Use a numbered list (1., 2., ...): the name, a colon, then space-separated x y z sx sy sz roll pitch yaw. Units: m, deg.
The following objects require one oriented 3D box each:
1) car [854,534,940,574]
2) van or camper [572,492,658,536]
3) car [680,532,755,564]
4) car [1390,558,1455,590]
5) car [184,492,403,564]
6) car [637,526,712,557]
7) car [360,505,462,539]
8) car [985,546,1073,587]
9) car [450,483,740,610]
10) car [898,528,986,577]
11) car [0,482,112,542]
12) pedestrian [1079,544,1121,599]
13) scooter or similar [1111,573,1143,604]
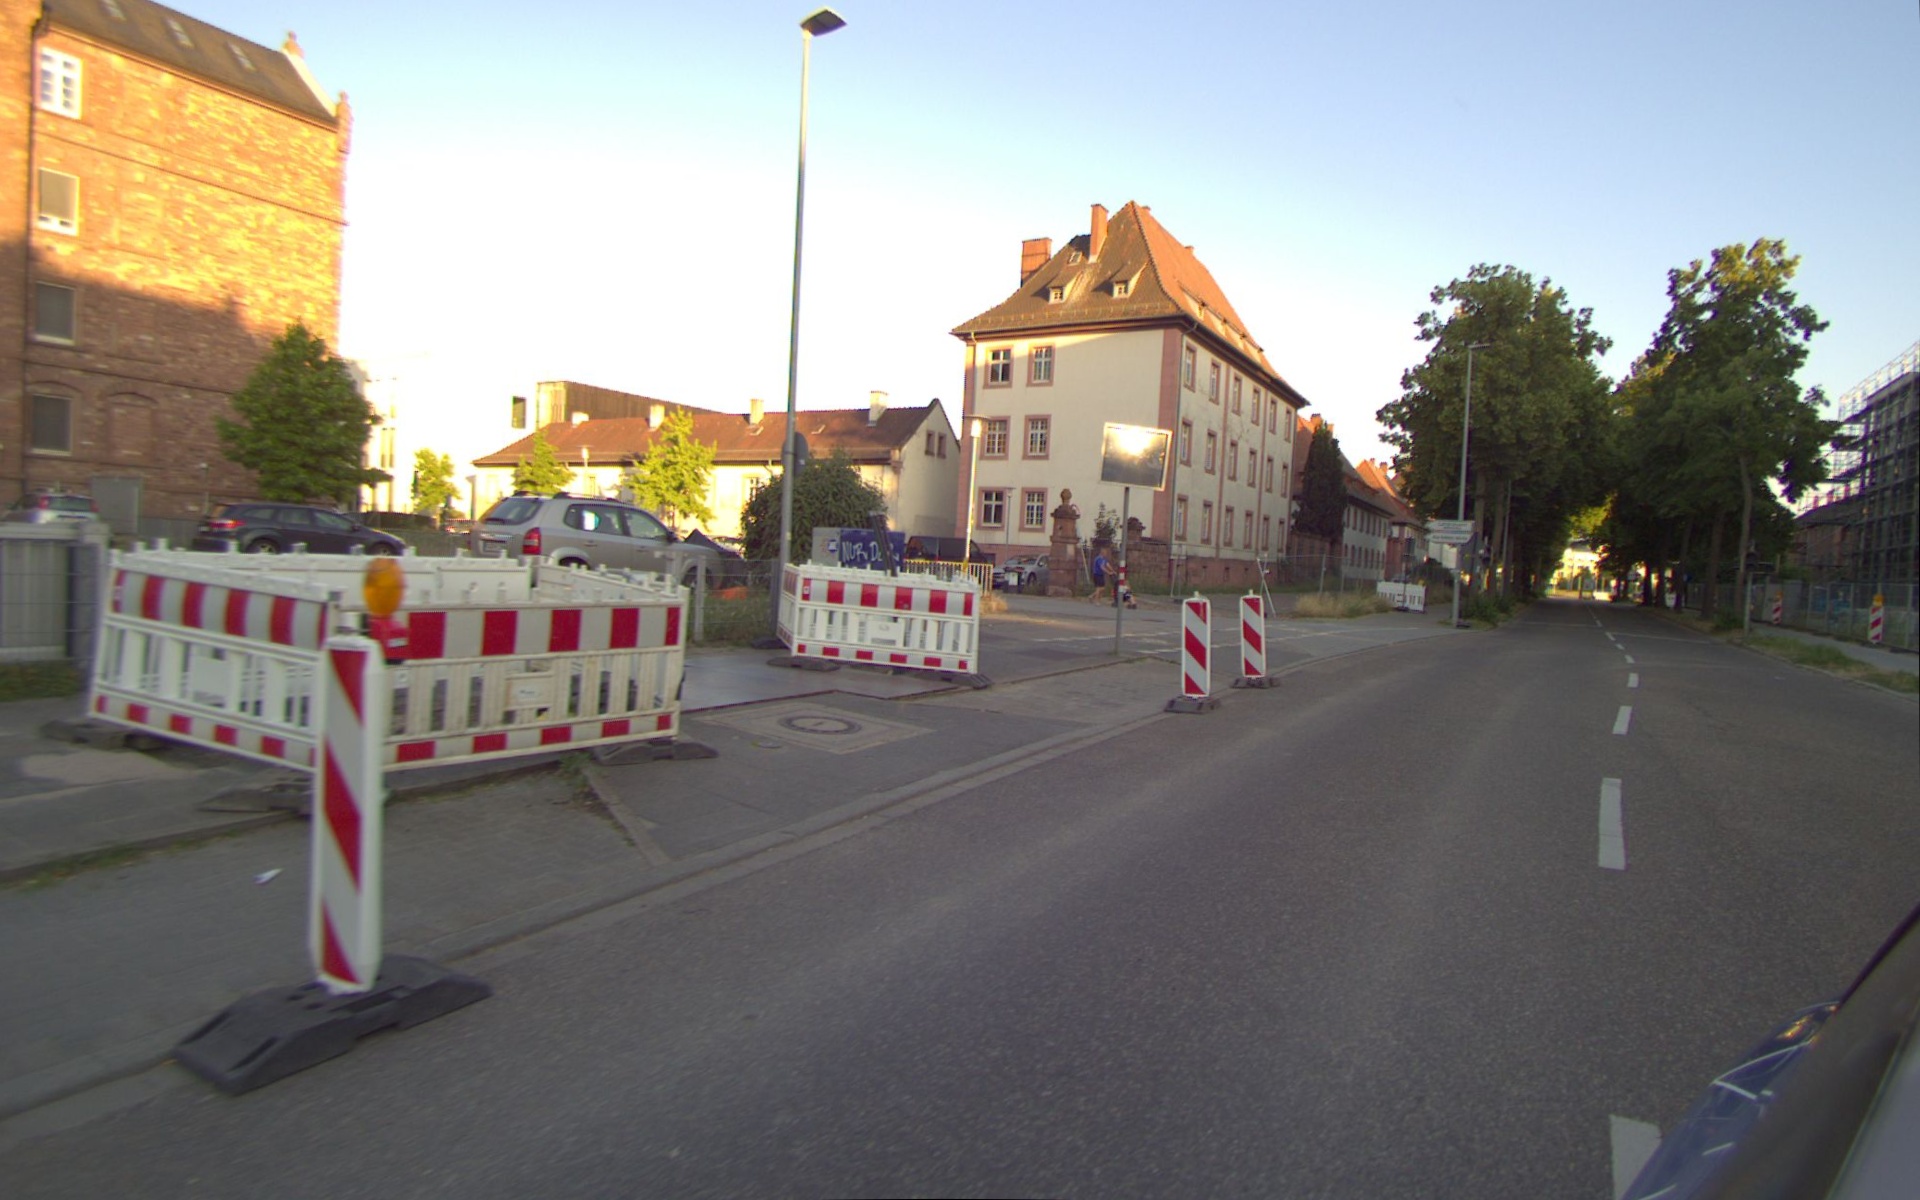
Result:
1. car: -2.748 -2.020 45.097 1.983 1.592 3.960 4 3 29
2. van or camper: -20.352 -5.058 59.852 1.672 2.267 4.928 4 3 29
3. car: -12.400 -2.637 51.986 1.672 1.463 3.715 4 3 29
4. car: 32.616 -1.855 71.348 3.965 2.038 1.981 5 3 28
5. car: -15.916 -1.684 24.369 1.632 1.500 4.088 5 4 34
6. car: -15.011 -3.076 53.388 1.672 1.463 3.715 4 3 29
7. car: -27.263 -3.855 50.392 2.049 1.329 3.955 5 3 31
8. car: 2.806 -1.307 40.576 1.983 1.476 3.960 4 3 29
9. car: -5.675 -0.829 16.268 1.690 1.729 4.236 5 3 31
10. car: -0.707 -1.985 43.091 1.983 1.881 3.960 4 3 29
11. car: -27.060 -2.613 29.959 4.151 1.556 1.880 5 3 33
12. pedestrian: 4.342 -0.885 31.397 1.008 1.662 0.743 4 2 34
13. scooter or similar: 5.083 -0.351 30.847 0.801 0.901 0.509 4 3 33
